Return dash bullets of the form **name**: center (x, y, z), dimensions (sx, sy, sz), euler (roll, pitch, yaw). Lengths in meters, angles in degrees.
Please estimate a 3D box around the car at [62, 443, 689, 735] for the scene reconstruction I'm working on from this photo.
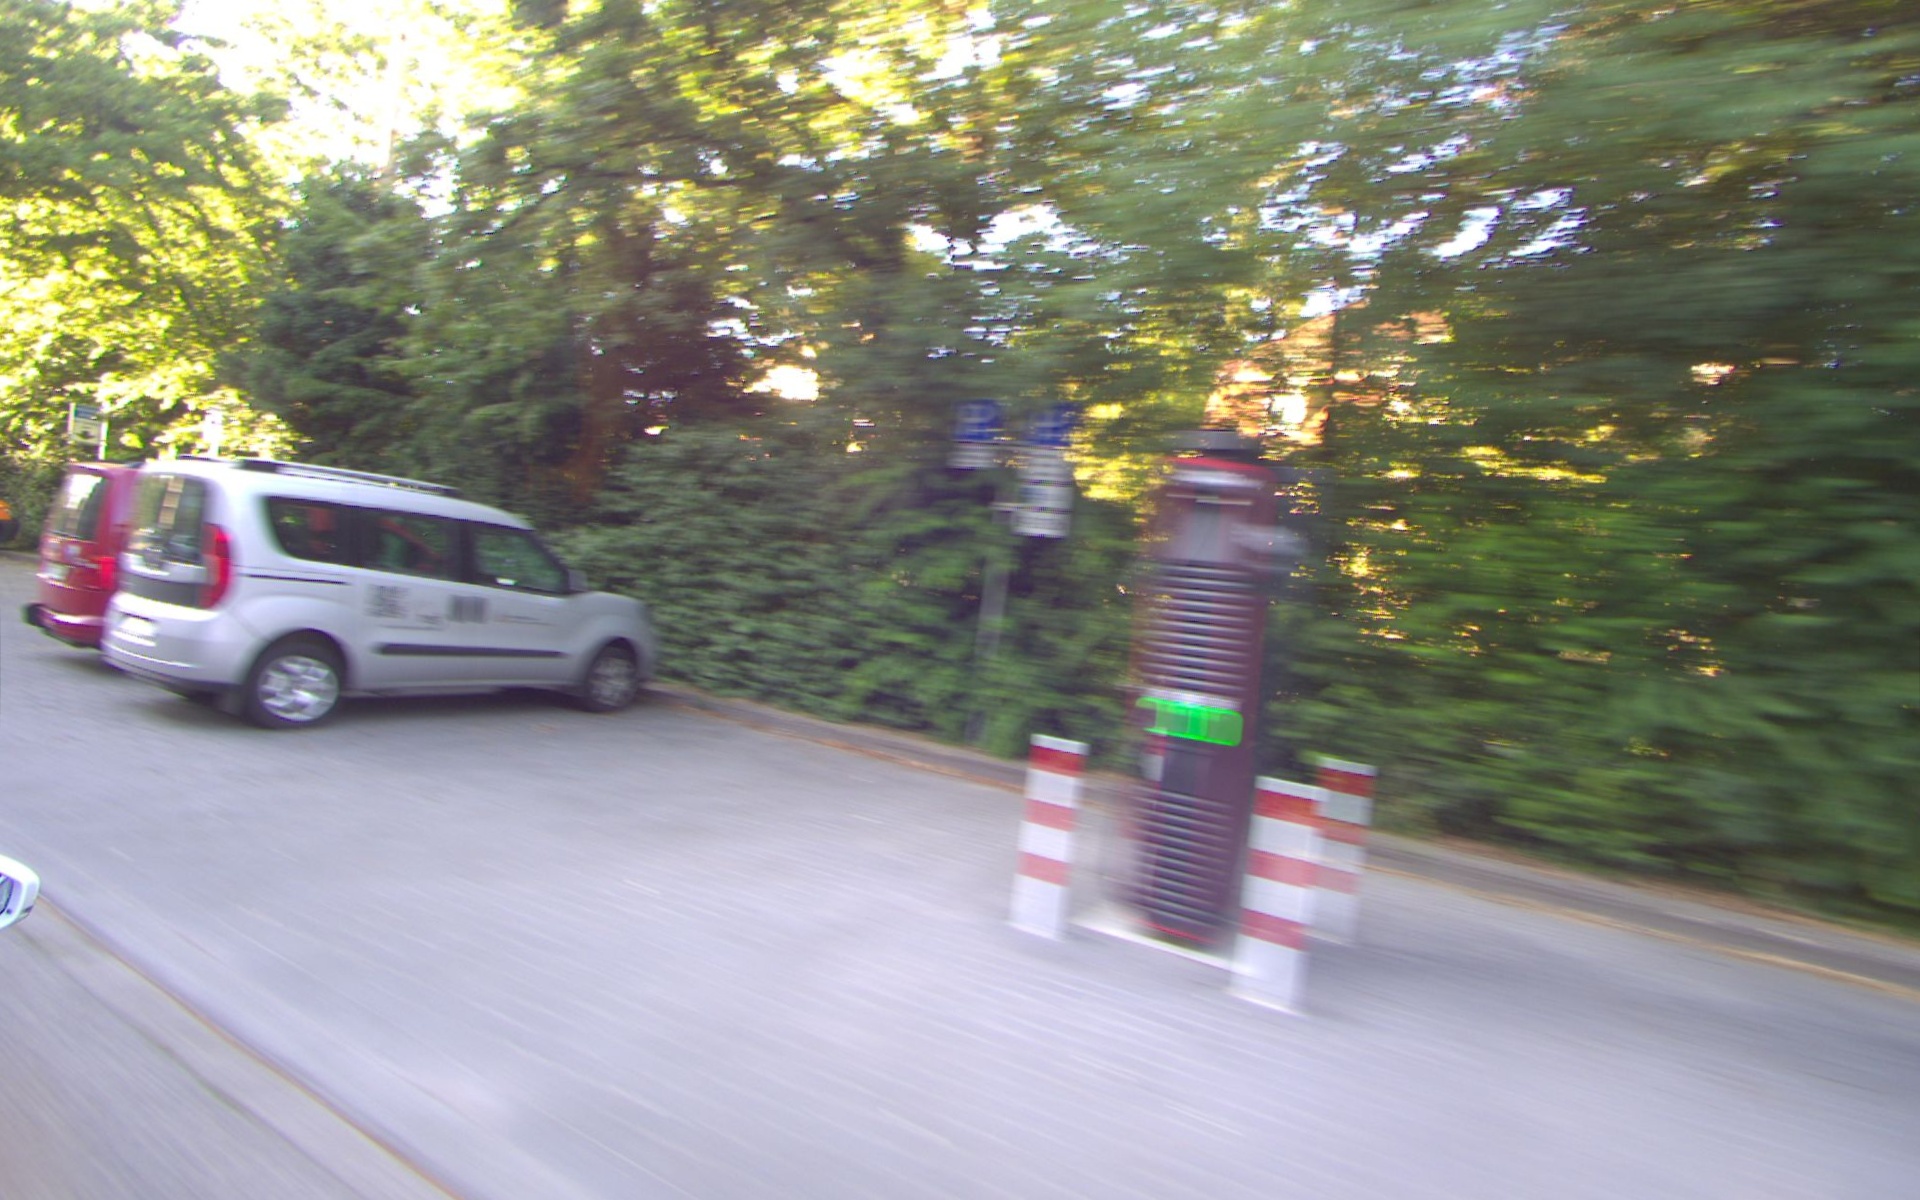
- **car**: center (-4.743, -0.036, 8.818), dimensions (1.968, 1.883, 4.230), euler (6, 1, 33)

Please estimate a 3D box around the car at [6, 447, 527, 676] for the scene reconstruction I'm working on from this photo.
- **car**: center (-6.829, -0.269, 10.363), dimensions (1.588, 1.859, 4.025), euler (7, 1, 33)

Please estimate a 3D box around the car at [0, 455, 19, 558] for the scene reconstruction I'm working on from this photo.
- **car**: center (-20.921, -2.053, 18.555), dimensions (1.770, 2.040, 4.827), euler (7, 1, 25)
